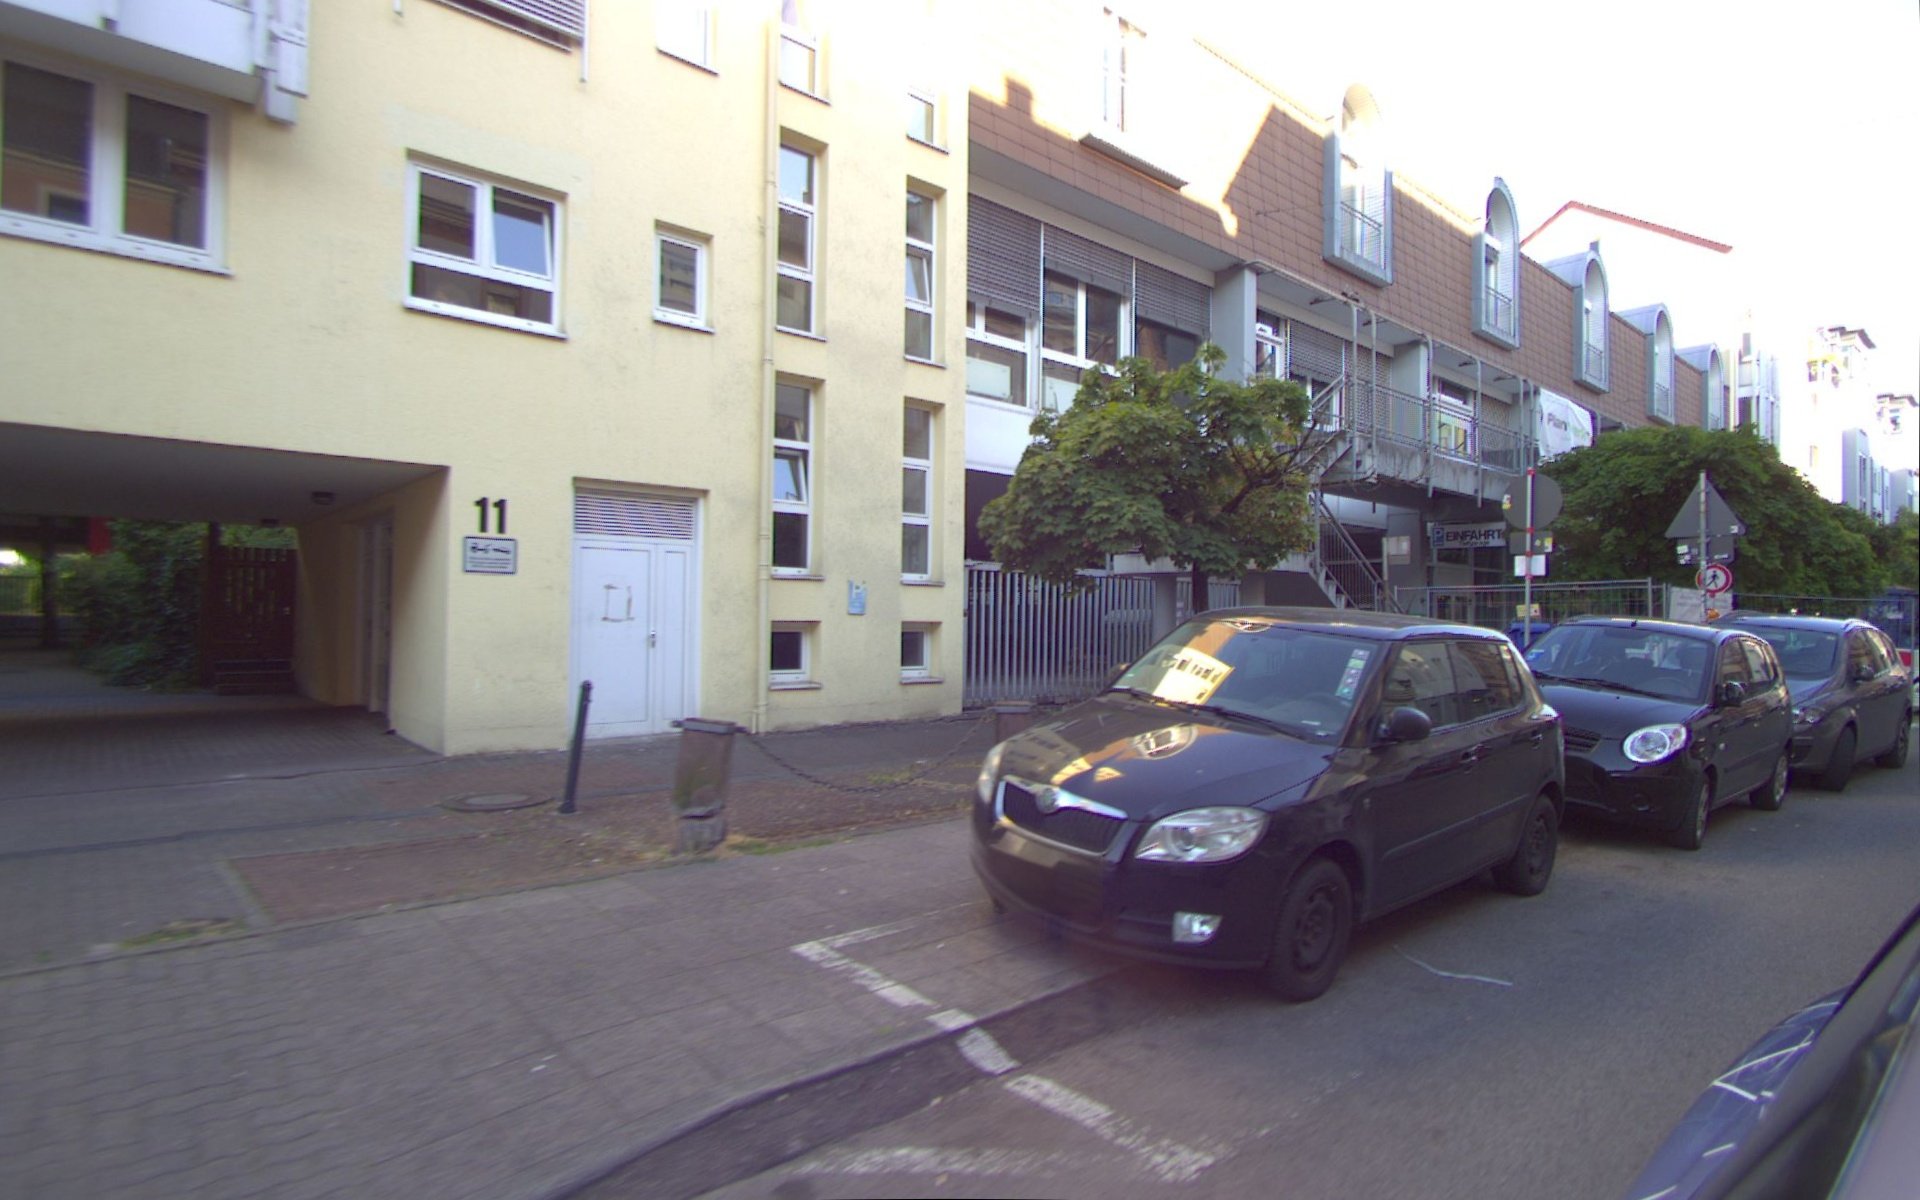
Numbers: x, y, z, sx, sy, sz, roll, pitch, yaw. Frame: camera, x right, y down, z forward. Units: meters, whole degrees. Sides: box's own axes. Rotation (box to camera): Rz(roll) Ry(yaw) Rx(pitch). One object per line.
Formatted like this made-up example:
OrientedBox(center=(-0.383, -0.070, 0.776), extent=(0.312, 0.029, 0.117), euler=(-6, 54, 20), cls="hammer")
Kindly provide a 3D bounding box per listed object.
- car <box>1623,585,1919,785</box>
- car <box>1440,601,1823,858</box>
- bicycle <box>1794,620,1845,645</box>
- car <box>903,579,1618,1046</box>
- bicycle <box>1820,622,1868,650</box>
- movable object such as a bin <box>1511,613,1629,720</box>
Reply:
OrientedBox(center=(8.850, 0.786, 10.751), extent=(4.443, 1.705, 1.752), euler=(1, -2, -39), cls="car")
OrientedBox(center=(5.441, 0.837, 8.045), extent=(3.629, 1.578, 1.624), euler=(1, -2, -41), cls="car")
OrientedBox(center=(42.513, 1.610, 50.072), extent=(0.555, 1.182, 1.884), euler=(2, -1, -45), cls="bicycle")
OrientedBox(center=(1.814, 0.717, 5.267), extent=(4.052, 1.504, 1.623), euler=(1, 1, -41), cls="car")
OrientedBox(center=(42.365, 1.730, 48.519), extent=(1.642, 1.284, 0.542), euler=(-2, -3, 39), cls="bicycle")
OrientedBox(center=(8.308, 0.889, 13.847), extent=(1.241, 1.394, 0.795), euler=(-2, -2, 24), cls="movable object such as a bin")
